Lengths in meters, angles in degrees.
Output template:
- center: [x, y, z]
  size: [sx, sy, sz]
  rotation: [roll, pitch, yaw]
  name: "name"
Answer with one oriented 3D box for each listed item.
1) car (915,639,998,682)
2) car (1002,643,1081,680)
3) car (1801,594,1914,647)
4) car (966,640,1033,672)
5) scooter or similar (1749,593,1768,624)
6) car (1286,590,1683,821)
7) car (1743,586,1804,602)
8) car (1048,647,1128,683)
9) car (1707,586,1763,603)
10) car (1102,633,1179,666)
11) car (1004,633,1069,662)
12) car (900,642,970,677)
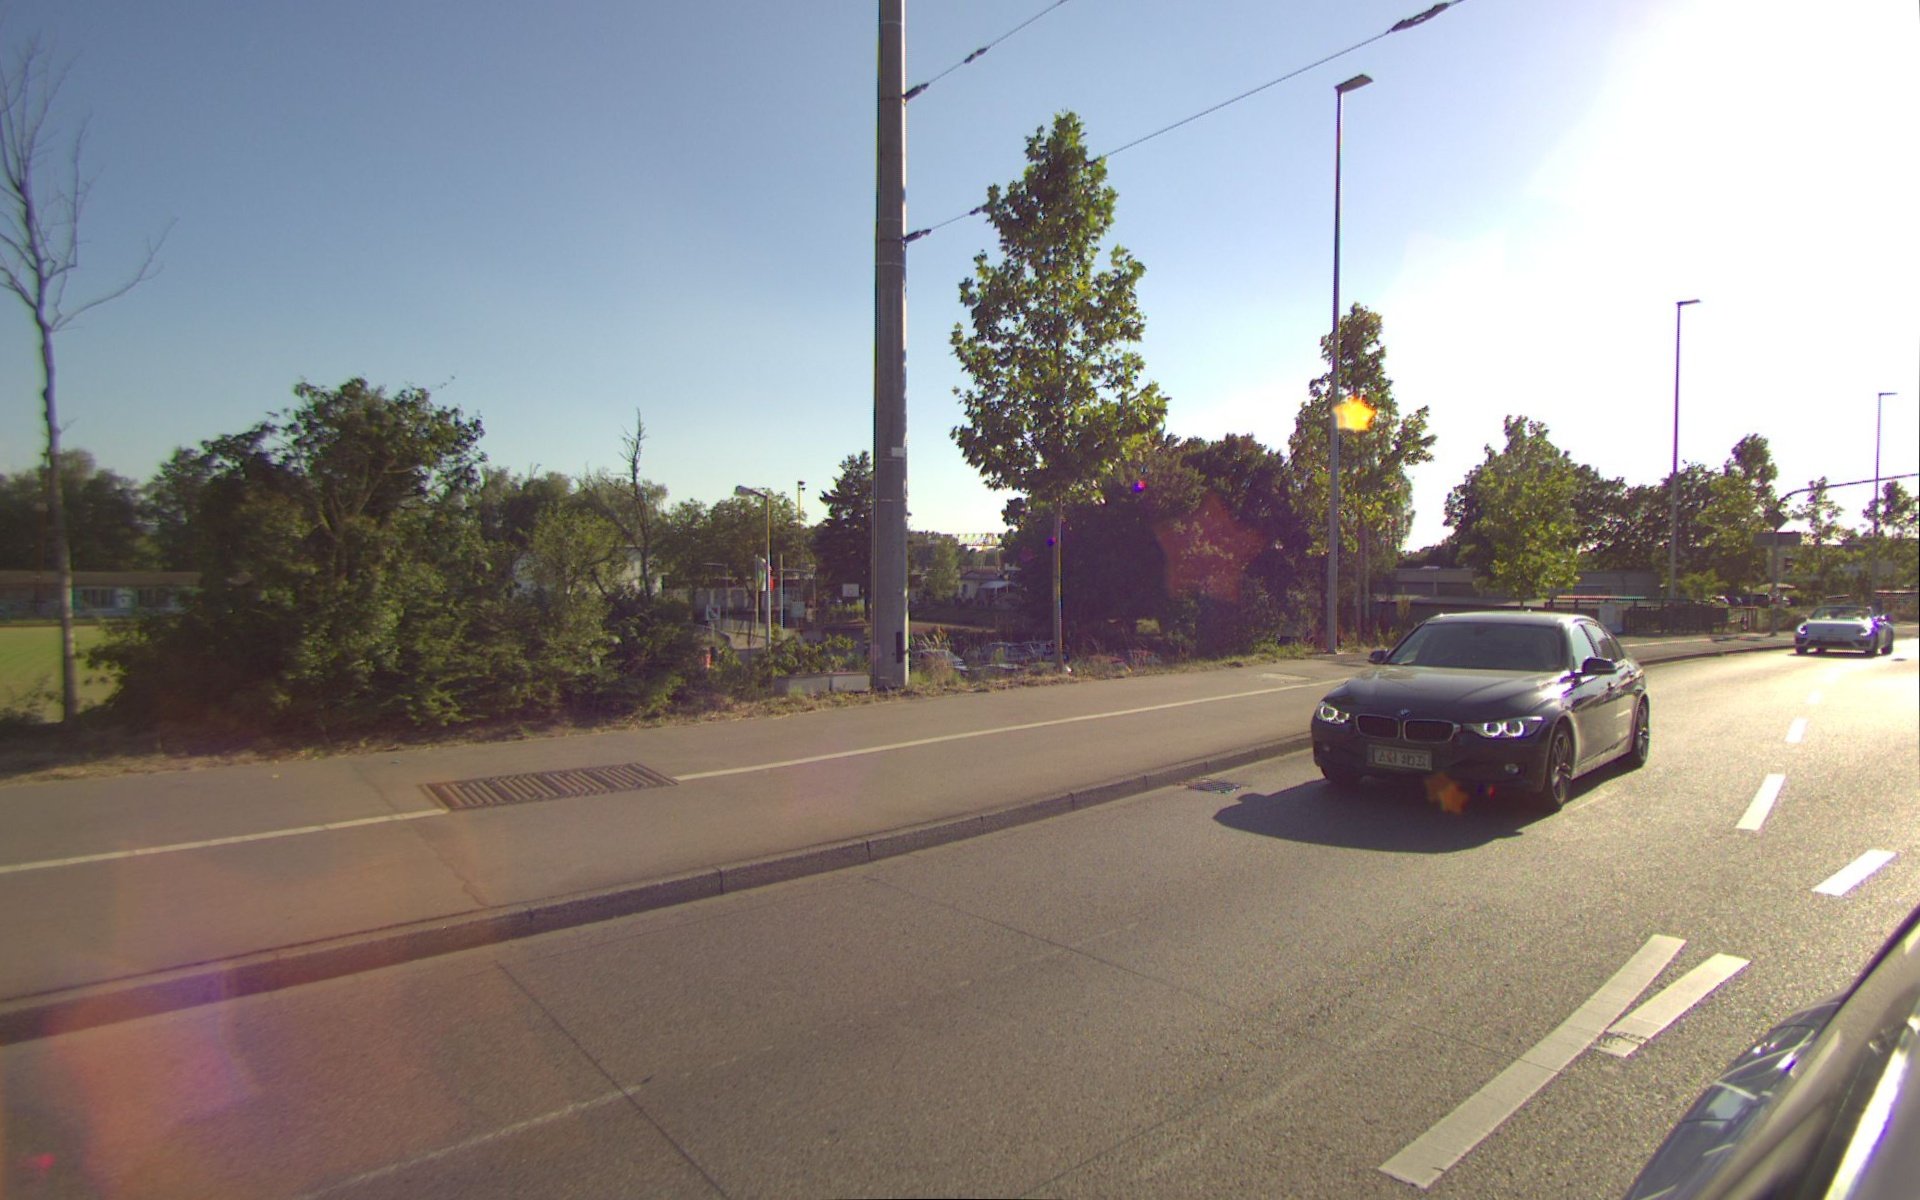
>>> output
- center: [-0.205, 2.551, 43.231]
  size: [1.551, 1.596, 3.920]
  rotation: [0, 0, -36]
  name: "car"
- center: [3.669, 2.778, 46.292]
  size: [1.551, 1.466, 3.703]
  rotation: [0, 0, -36]
  name: "car"
- center: [26.525, 0.560, 29.871]
  size: [3.908, 1.441, 1.856]
  rotation: [0, 1, -38]
  name: "car"
- center: [2.148, 3.076, 56.249]
  size: [1.661, 1.590, 3.920]
  rotation: [0, 0, -36]
  name: "car"
- center: [33.269, 0.332, 42.153]
  size: [0.523, 1.246, 1.248]
  rotation: [2, 2, 41]
  name: "scooter or similar"
- center: [4.820, 0.673, 8.949]
  size: [1.867, 1.485, 4.512]
  rotation: [0, 1, 45]
  name: "car"
- center: [84.353, -0.582, 104.982]
  size: [1.825, 1.589, 4.660]
  rotation: [0, -1, -38]
  name: "car"
- center: [6.035, 3.038, 48.027]
  size: [1.636, 1.468, 3.703]
  rotation: [-1, 0, -36]
  name: "car"
- center: [76.040, -0.487, 99.307]
  size: [1.655, 1.606, 4.029]
  rotation: [0, -1, -38]
  name: "car"
- center: [9.100, 2.476, 51.337]
  size: [1.718, 1.466, 3.704]
  rotation: [0, 0, -35]
  name: "car"
- center: [4.354, 2.690, 57.946]
  size: [1.649, 1.520, 3.703]
  rotation: [0, 0, -36]
  name: "car"
- center: [-1.354, 3.066, 53.047]
  size: [1.752, 1.596, 3.920]
  rotation: [-1, 0, -36]
  name: "car"
